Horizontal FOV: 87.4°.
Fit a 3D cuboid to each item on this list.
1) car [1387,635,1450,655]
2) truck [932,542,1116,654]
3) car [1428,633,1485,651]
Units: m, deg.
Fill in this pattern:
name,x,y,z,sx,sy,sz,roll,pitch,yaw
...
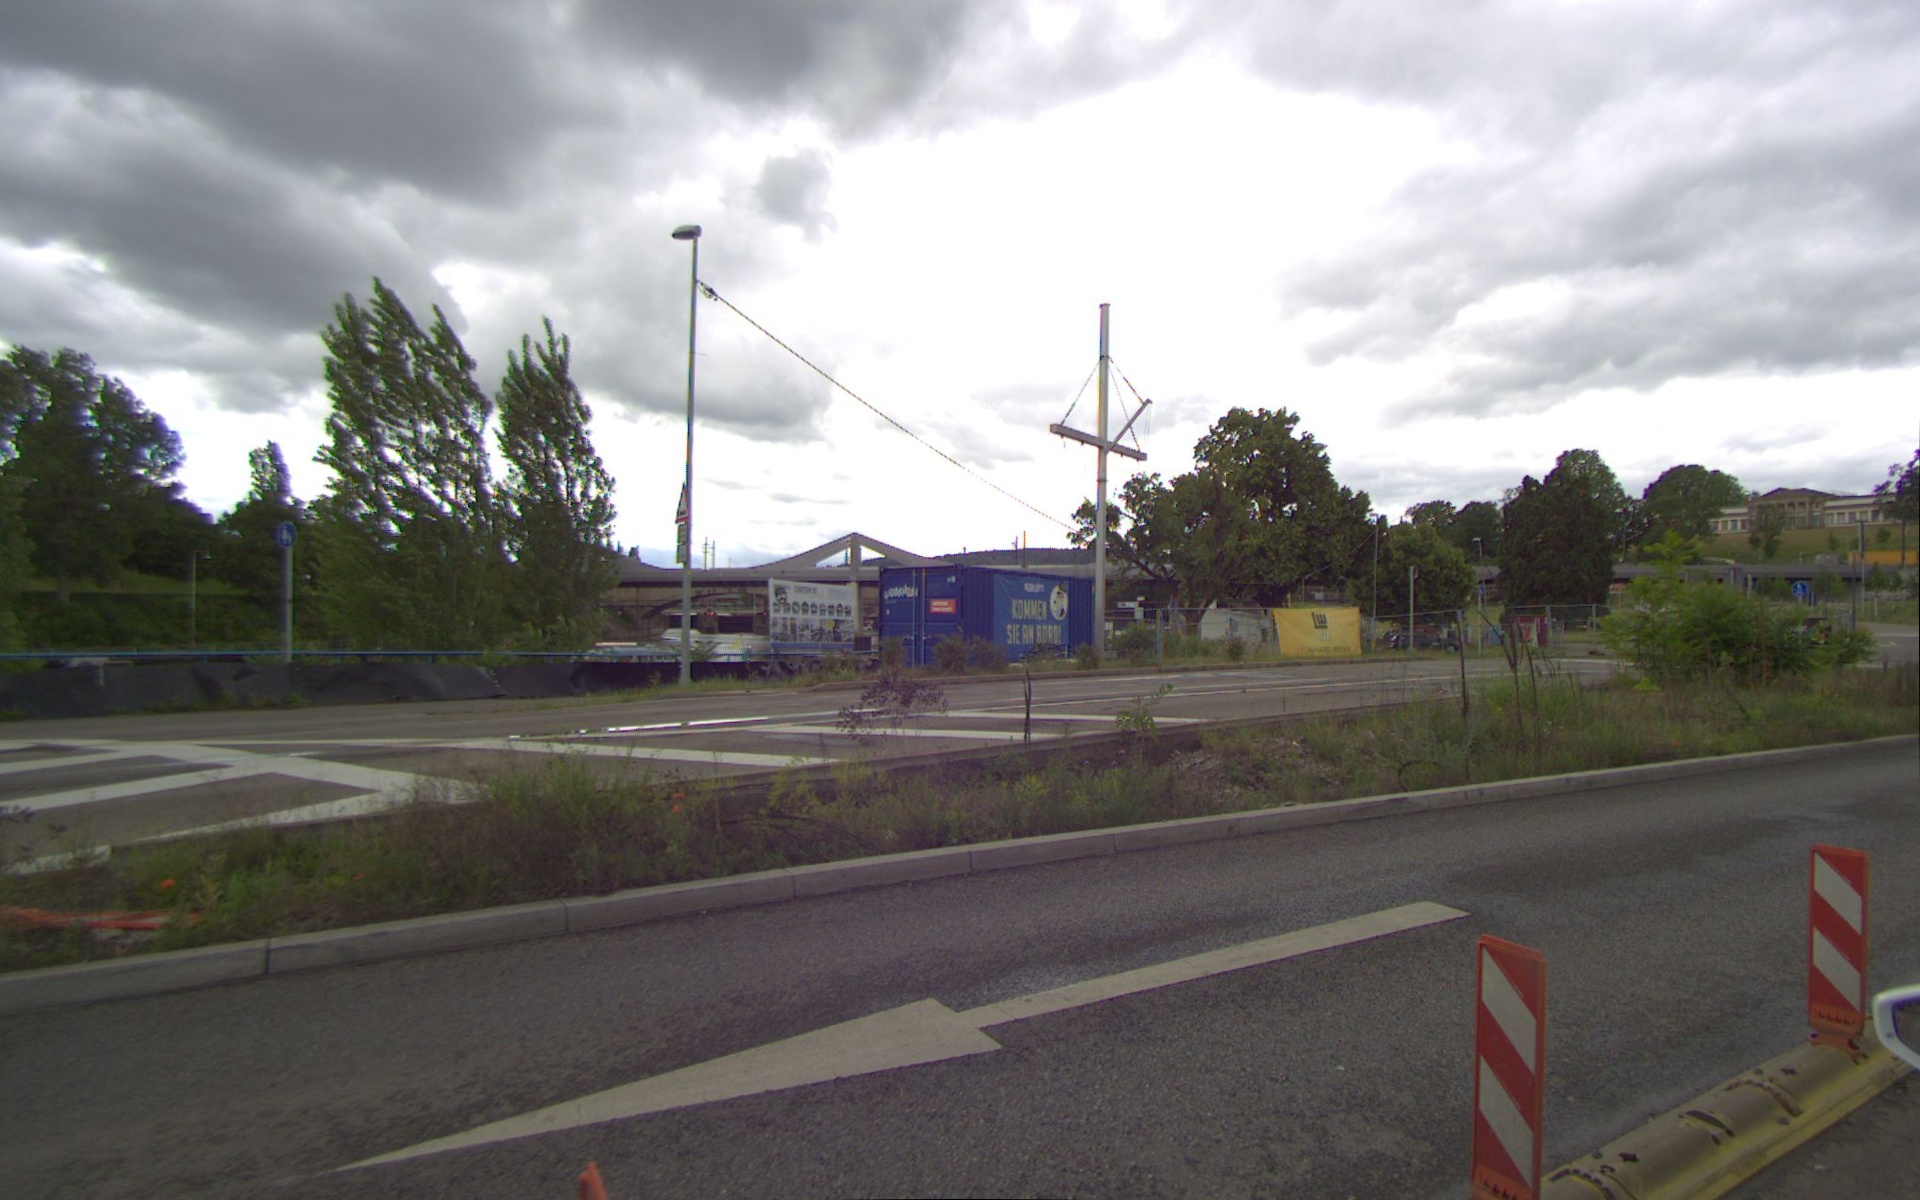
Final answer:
name,x,y,z,sx,sy,sz,roll,pitch,yaw
car,31.611,3.104,69.284,3.851,1.308,1.801,-1,-1,30
truck,2.483,0.013,34.712,2.753,3.380,8.460,-2,-1,31
car,36.288,3.072,73.475,3.436,1.308,1.603,0,-1,8
